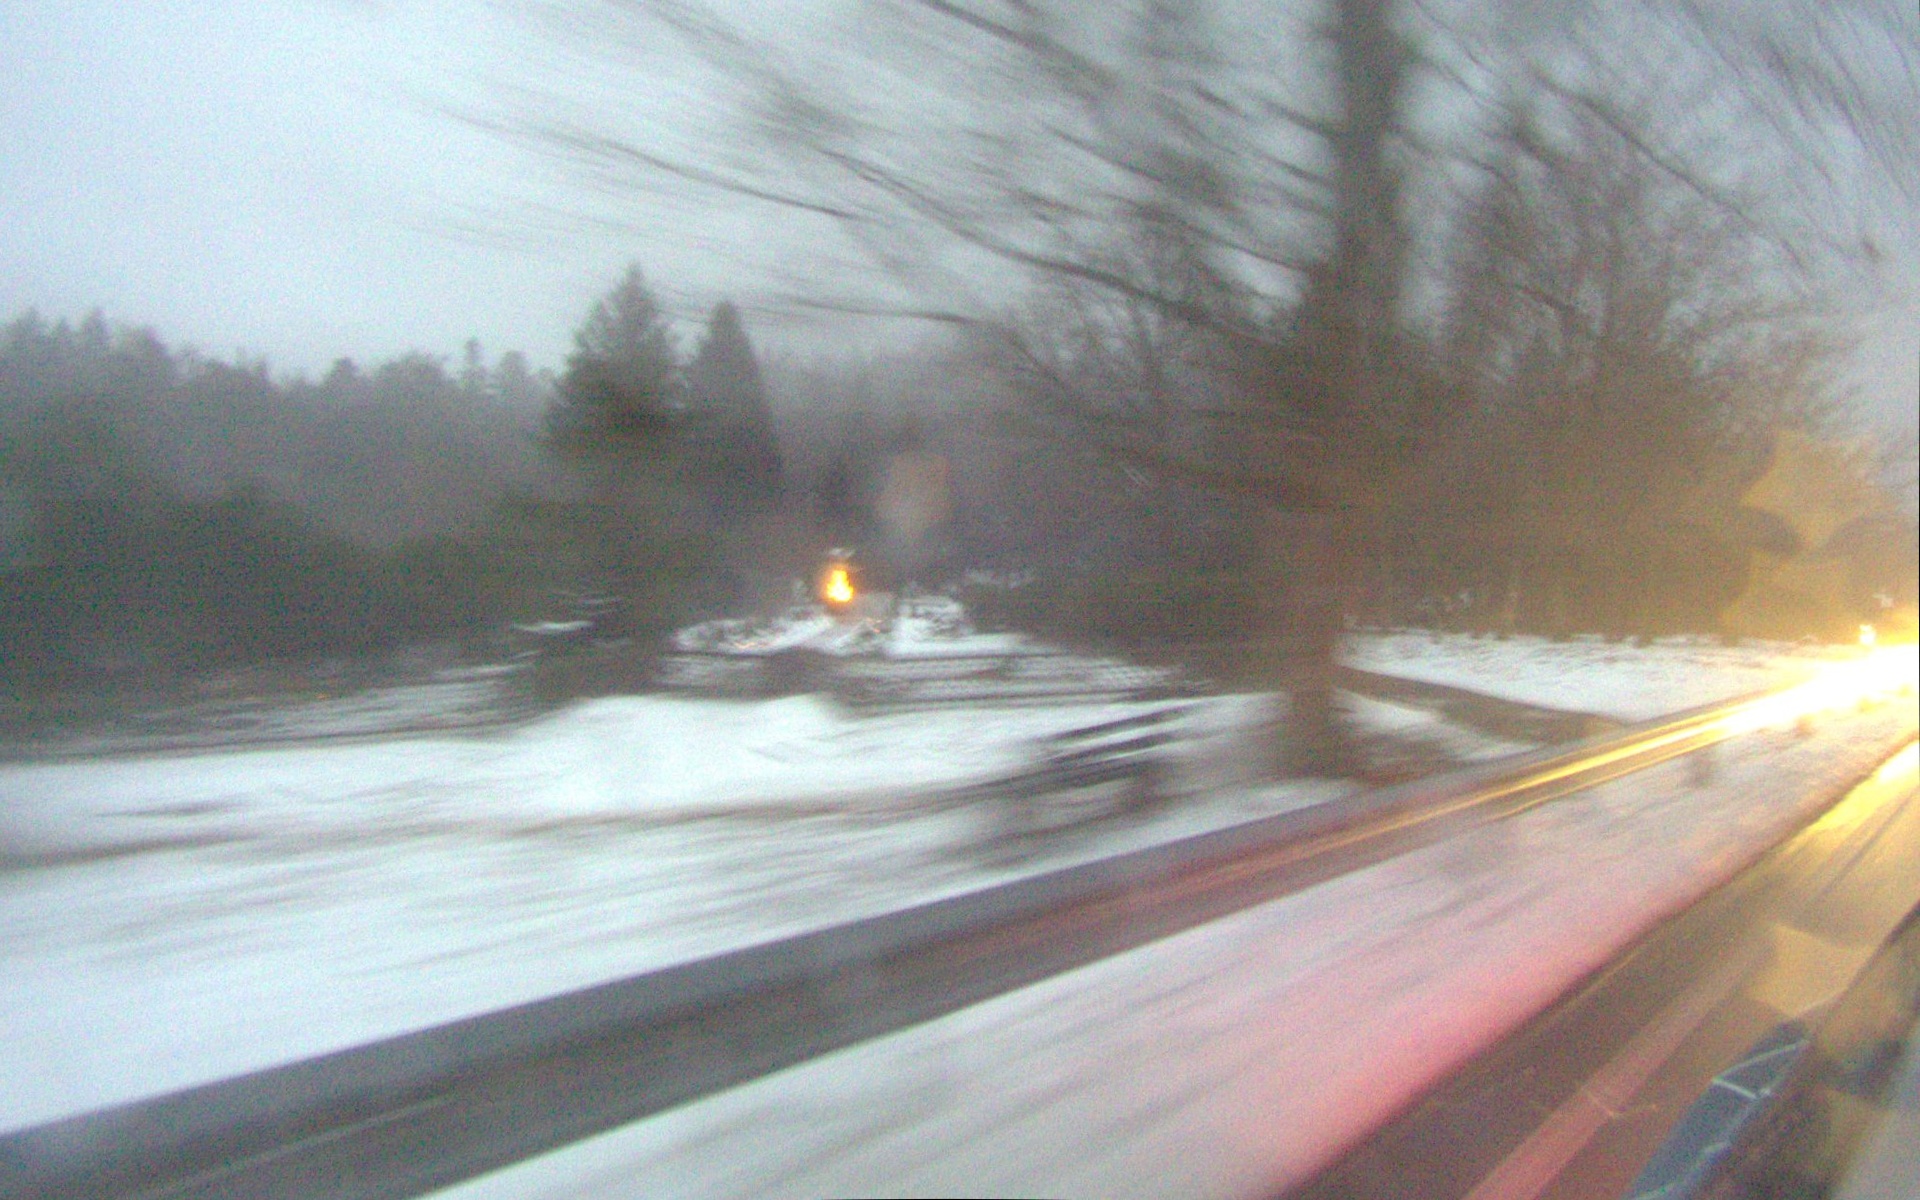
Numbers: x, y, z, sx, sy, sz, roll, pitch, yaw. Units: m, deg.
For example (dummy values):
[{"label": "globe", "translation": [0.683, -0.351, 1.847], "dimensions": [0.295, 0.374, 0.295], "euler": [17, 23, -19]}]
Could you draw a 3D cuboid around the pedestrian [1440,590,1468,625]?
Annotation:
[{"label": "pedestrian", "translation": [26.359, 0.400, 53.977], "dimensions": [0.943, 1.851, 0.926], "euler": [2, -2, -16]}]
